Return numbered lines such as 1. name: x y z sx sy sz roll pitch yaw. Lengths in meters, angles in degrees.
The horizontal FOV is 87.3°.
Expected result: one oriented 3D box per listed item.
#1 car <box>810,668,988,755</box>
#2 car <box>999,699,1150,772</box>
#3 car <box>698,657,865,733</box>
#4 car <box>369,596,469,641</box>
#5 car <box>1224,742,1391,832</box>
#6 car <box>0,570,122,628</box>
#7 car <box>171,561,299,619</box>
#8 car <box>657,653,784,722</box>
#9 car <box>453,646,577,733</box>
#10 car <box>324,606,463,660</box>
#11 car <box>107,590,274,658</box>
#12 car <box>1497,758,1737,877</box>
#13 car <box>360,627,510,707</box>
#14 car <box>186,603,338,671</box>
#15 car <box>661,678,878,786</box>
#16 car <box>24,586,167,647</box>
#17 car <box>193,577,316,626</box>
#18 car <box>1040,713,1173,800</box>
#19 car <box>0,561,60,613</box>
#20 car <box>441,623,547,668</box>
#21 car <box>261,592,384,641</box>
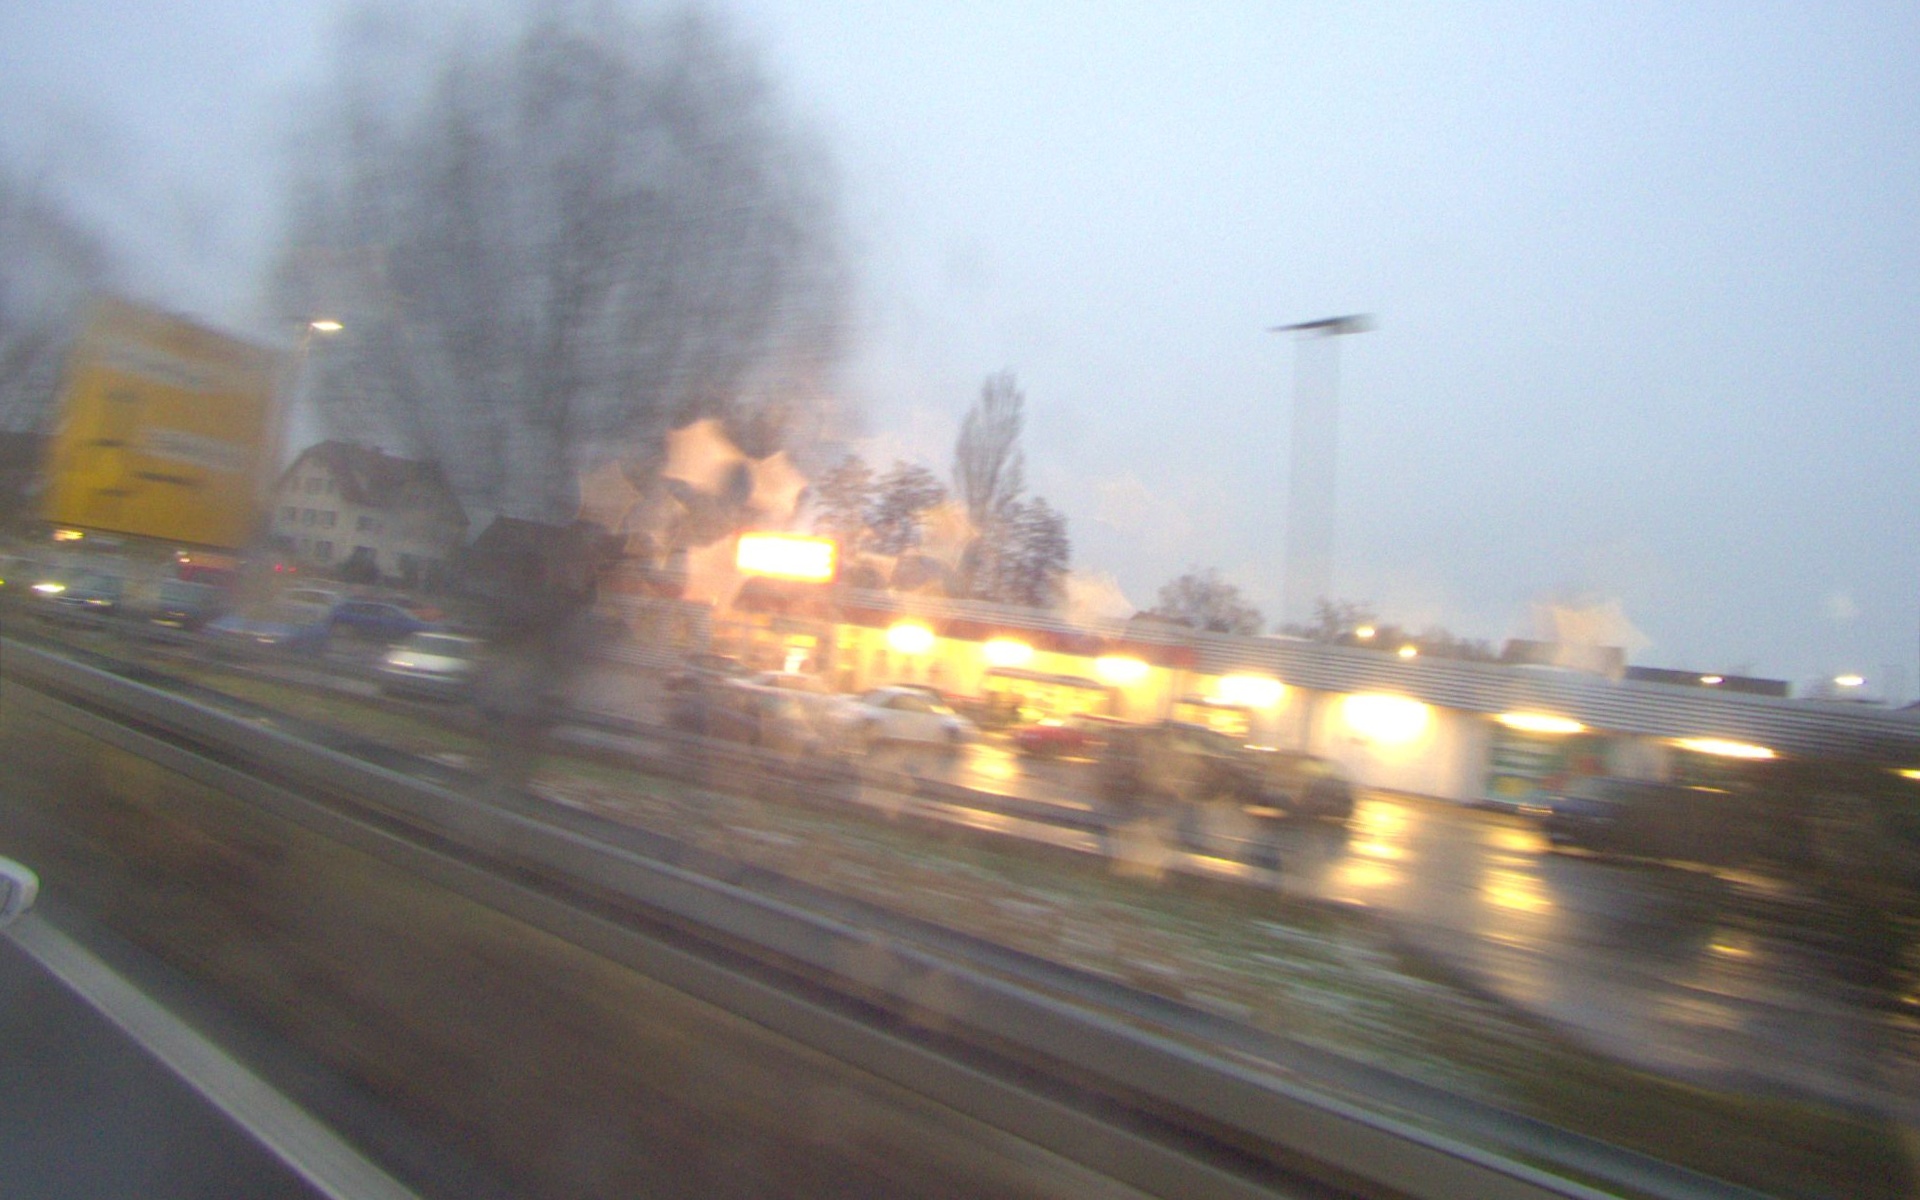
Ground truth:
1. car: -1.672 3.095 27.851 4.416 1.657 1.817 10 -3 -23
2. car: 3.378 4.010 29.775 3.969 1.519 1.721 9 -1 -19
3. car: -5.253 2.772 29.524 4.478 1.552 1.800 9 -2 -18
4. car: -24.702 0.847 46.065 3.794 1.517 1.560 9 -2 -26
5. car: 8.053 4.329 23.360 3.215 1.533 1.713 9 -3 -21
6. car: -27.429 -0.049 30.511 1.608 1.436 3.985 8 -2 -19
7. car: -31.417 -0.410 43.714 3.980 1.890 1.716 9 -2 -20
8. car: -7.437 2.728 31.405 3.575 1.603 1.596 8 -2 -13
9. car: -9.942 1.960 22.805 1.823 1.413 4.168 8 -2 -15
10. car: -21.716 1.262 38.749 4.253 1.441 1.740 9 -2 -17
11. car: -20.902 0.642 27.602 1.902 1.471 4.577 8 -2 -15
12. car: 15.487 5.123 23.754 4.887 1.979 1.883 9 -3 -16
13. car: -12.335 1.516 23.998 1.874 1.413 4.695 7 -2 -13
14. car: -18.352 0.929 26.685 1.875 1.413 4.169 8 -2 -15
15. car: -3.738 2.509 19.707 3.744 1.445 1.773 6 -2 26
16. car: -24.685 0.440 28.906 1.608 1.436 3.985 8 -2 -19
17. car: -29.186 0.077 41.712 3.700 1.446 1.567 8 -2 -11
18. car: 3.567 3.834 24.904 1.378 1.552 3.234 10 -3 -30
19. car: -30.375 -0.447 31.465 1.772 1.455 3.985 8 -2 -19
20. car: -19.571 1.919 42.402 3.787 1.367 1.562 9 -2 -21
21. car: -25.441 0.658 40.254 3.704 1.446 1.565 8 -2 -16
